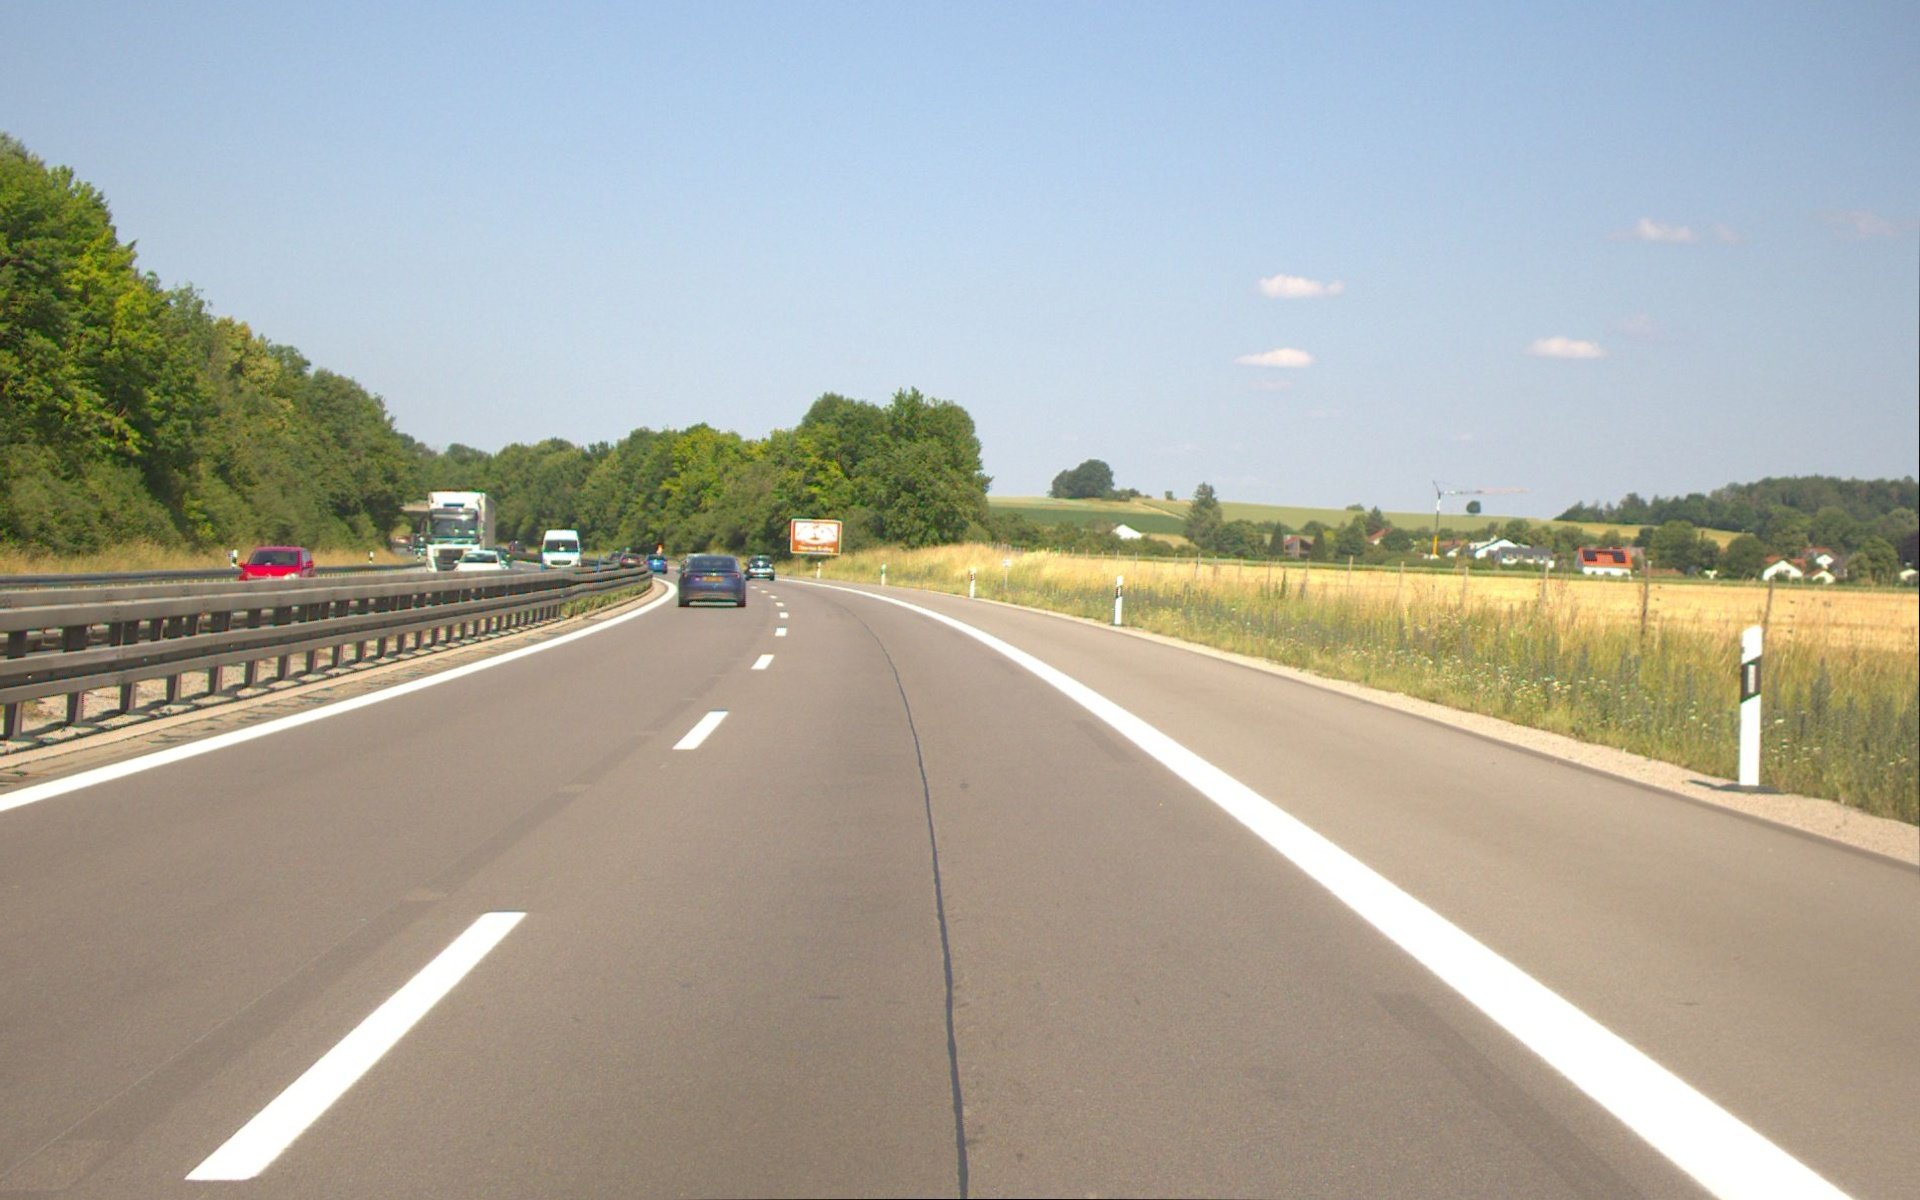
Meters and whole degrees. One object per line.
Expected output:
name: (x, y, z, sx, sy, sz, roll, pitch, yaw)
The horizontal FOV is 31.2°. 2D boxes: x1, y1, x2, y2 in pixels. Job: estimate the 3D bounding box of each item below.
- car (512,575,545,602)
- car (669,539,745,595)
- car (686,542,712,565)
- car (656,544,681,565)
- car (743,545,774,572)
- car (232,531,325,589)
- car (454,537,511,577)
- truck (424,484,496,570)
car: (-28.171, -0.762, 224.591, 1.757, 1.621, 4.001, 2, 1, -2)
car: (-7.050, -0.944, 96.235, 1.847, 1.428, 5.866, 1, 1, -2)
car: (-17.218, -3.060, 226.870, 1.676, 1.448, 3.593, 1, 1, -5)
car: (-21.622, -3.382, 254.885, 1.676, 1.448, 3.592, 1, 1, -2)
car: (-11.589, -2.388, 197.891, 1.676, 1.448, 3.593, 1, 1, -5)
car: (-17.573, -1.046, 88.800, 1.672, 1.432, 4.142, 1, 1, -2)
car: (-18.504, -1.673, 133.354, 1.685, 1.478, 4.978, 1, 1, -2)
truck: (-22.826, -3.332, 157.255, 2.745, 3.816, 5.913, 1, 1, -4)
